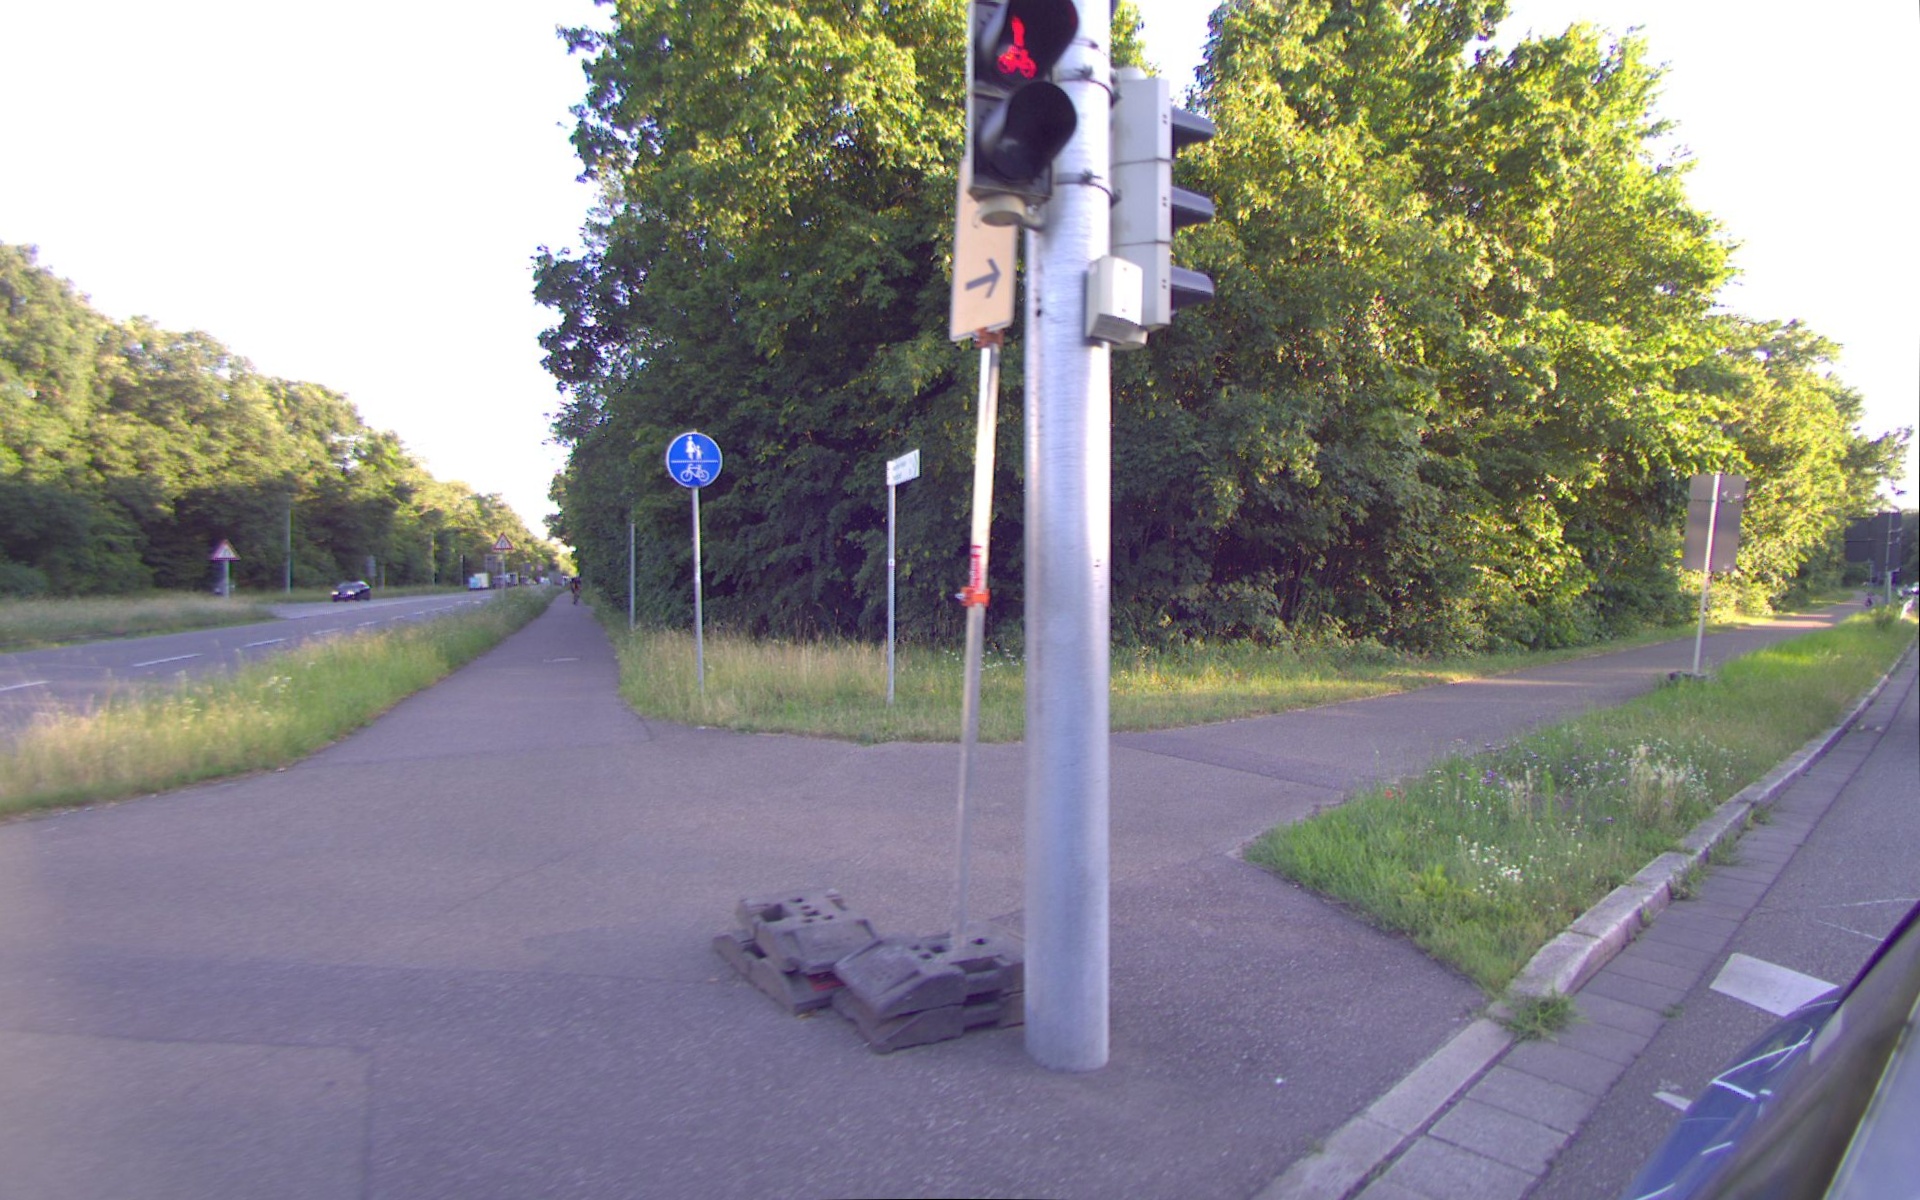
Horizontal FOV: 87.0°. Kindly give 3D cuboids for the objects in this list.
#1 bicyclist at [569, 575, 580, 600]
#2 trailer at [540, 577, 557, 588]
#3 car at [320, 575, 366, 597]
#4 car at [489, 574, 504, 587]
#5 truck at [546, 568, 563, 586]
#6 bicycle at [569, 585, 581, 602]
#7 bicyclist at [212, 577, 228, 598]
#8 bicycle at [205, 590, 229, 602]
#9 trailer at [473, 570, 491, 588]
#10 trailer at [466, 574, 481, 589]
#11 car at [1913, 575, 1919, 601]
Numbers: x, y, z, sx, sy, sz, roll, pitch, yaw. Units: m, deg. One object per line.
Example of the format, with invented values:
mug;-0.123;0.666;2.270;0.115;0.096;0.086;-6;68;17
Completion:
bicyclist;-22.975;-0.748;60.342;0.592;1.473;0.781;-1;1;-19
trailer;-64.767;-2.823;159.356;1.431;1.682;3.783;-1;1;-7
car;-46.531;-1.067;76.395;1.787;1.552;4.465;-3;2;-16
car;-89.405;-3.844;195.261;1.959;2.393;5.778;-3;2;-20
truck;-75.977;-4.289;189.610;2.542;3.296;7.236;1;1;-19
bicycle;-22.943;-0.392;60.284;0.600;1.008;1.694;-1;1;-19
bicyclist;-53.007;-0.895;72.508;0.575;1.447;0.824;-1;1;-10
bicycle;-52.950;-0.291;72.144;0.575;0.814;1.962;-1;1;-10
trailer;-80.412;-3.560;170.342;2.285;2.960;5.639;-3;2;-21
trailer;-74.829;-2.903;155.731;1.785;2.194;4.152;-1;2;-21
car;62.151;-0.810;64.354;4.324;1.644;1.995;-1;0;-44
